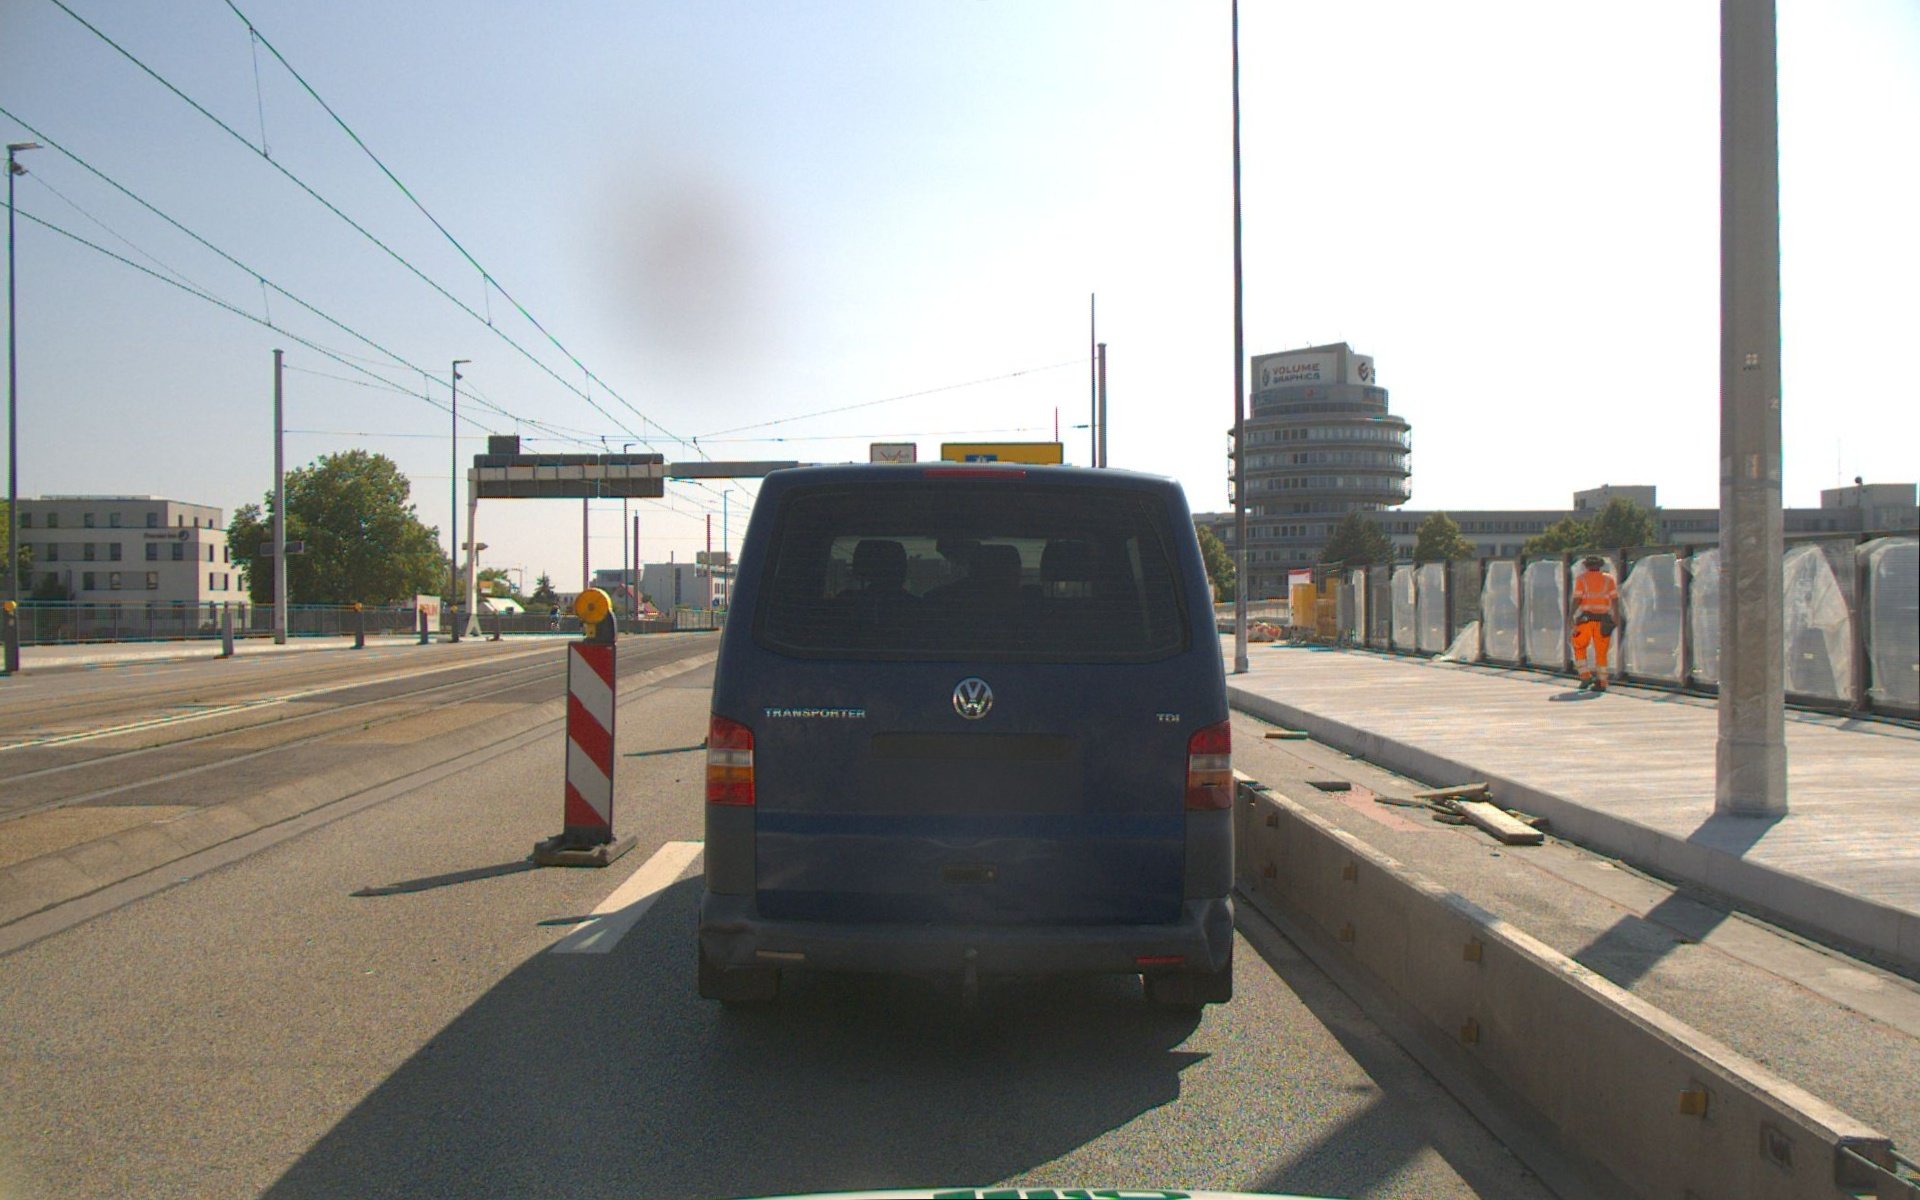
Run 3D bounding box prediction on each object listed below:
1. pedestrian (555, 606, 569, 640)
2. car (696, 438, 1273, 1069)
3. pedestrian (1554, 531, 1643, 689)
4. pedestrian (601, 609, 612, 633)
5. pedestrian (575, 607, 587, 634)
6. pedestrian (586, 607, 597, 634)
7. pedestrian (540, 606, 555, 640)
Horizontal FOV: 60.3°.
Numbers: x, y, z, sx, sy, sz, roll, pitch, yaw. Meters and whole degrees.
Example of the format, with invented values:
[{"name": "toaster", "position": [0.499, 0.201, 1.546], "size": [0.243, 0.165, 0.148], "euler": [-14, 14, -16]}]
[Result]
[{"name": "pedestrian", "position": [-22.873, 1.315, 95.130], "size": [0.621, 1.950, 0.752], "euler": [0, 0, -1]}, {"name": "car", "position": [0.059, 0.465, 7.128], "size": [1.778, 1.939, 4.054], "euler": [0, 0, -1]}, {"name": "pedestrian", "position": [8.184, 0.129, 21.227], "size": [0.766, 1.969, 0.799], "euler": [-2, -1, -1]}, {"name": "pedestrian", "position": [-24.618, 1.460, 115.301], "size": [0.621, 1.626, 0.752], "euler": [0, 0, -1]}, {"name": "pedestrian", "position": [-25.636, 1.391, 111.783], "size": [0.621, 1.783, 0.752], "euler": [1, 0, -2]}, {"name": "pedestrian", "position": [-24.935, 1.372, 111.960], "size": [0.621, 1.805, 0.752], "euler": [0, 0, -1]}, {"name": "pedestrian", "position": [-23.731, 1.305, 95.159], "size": [0.621, 1.926, 0.752], "euler": [0, 0, -1]}]
